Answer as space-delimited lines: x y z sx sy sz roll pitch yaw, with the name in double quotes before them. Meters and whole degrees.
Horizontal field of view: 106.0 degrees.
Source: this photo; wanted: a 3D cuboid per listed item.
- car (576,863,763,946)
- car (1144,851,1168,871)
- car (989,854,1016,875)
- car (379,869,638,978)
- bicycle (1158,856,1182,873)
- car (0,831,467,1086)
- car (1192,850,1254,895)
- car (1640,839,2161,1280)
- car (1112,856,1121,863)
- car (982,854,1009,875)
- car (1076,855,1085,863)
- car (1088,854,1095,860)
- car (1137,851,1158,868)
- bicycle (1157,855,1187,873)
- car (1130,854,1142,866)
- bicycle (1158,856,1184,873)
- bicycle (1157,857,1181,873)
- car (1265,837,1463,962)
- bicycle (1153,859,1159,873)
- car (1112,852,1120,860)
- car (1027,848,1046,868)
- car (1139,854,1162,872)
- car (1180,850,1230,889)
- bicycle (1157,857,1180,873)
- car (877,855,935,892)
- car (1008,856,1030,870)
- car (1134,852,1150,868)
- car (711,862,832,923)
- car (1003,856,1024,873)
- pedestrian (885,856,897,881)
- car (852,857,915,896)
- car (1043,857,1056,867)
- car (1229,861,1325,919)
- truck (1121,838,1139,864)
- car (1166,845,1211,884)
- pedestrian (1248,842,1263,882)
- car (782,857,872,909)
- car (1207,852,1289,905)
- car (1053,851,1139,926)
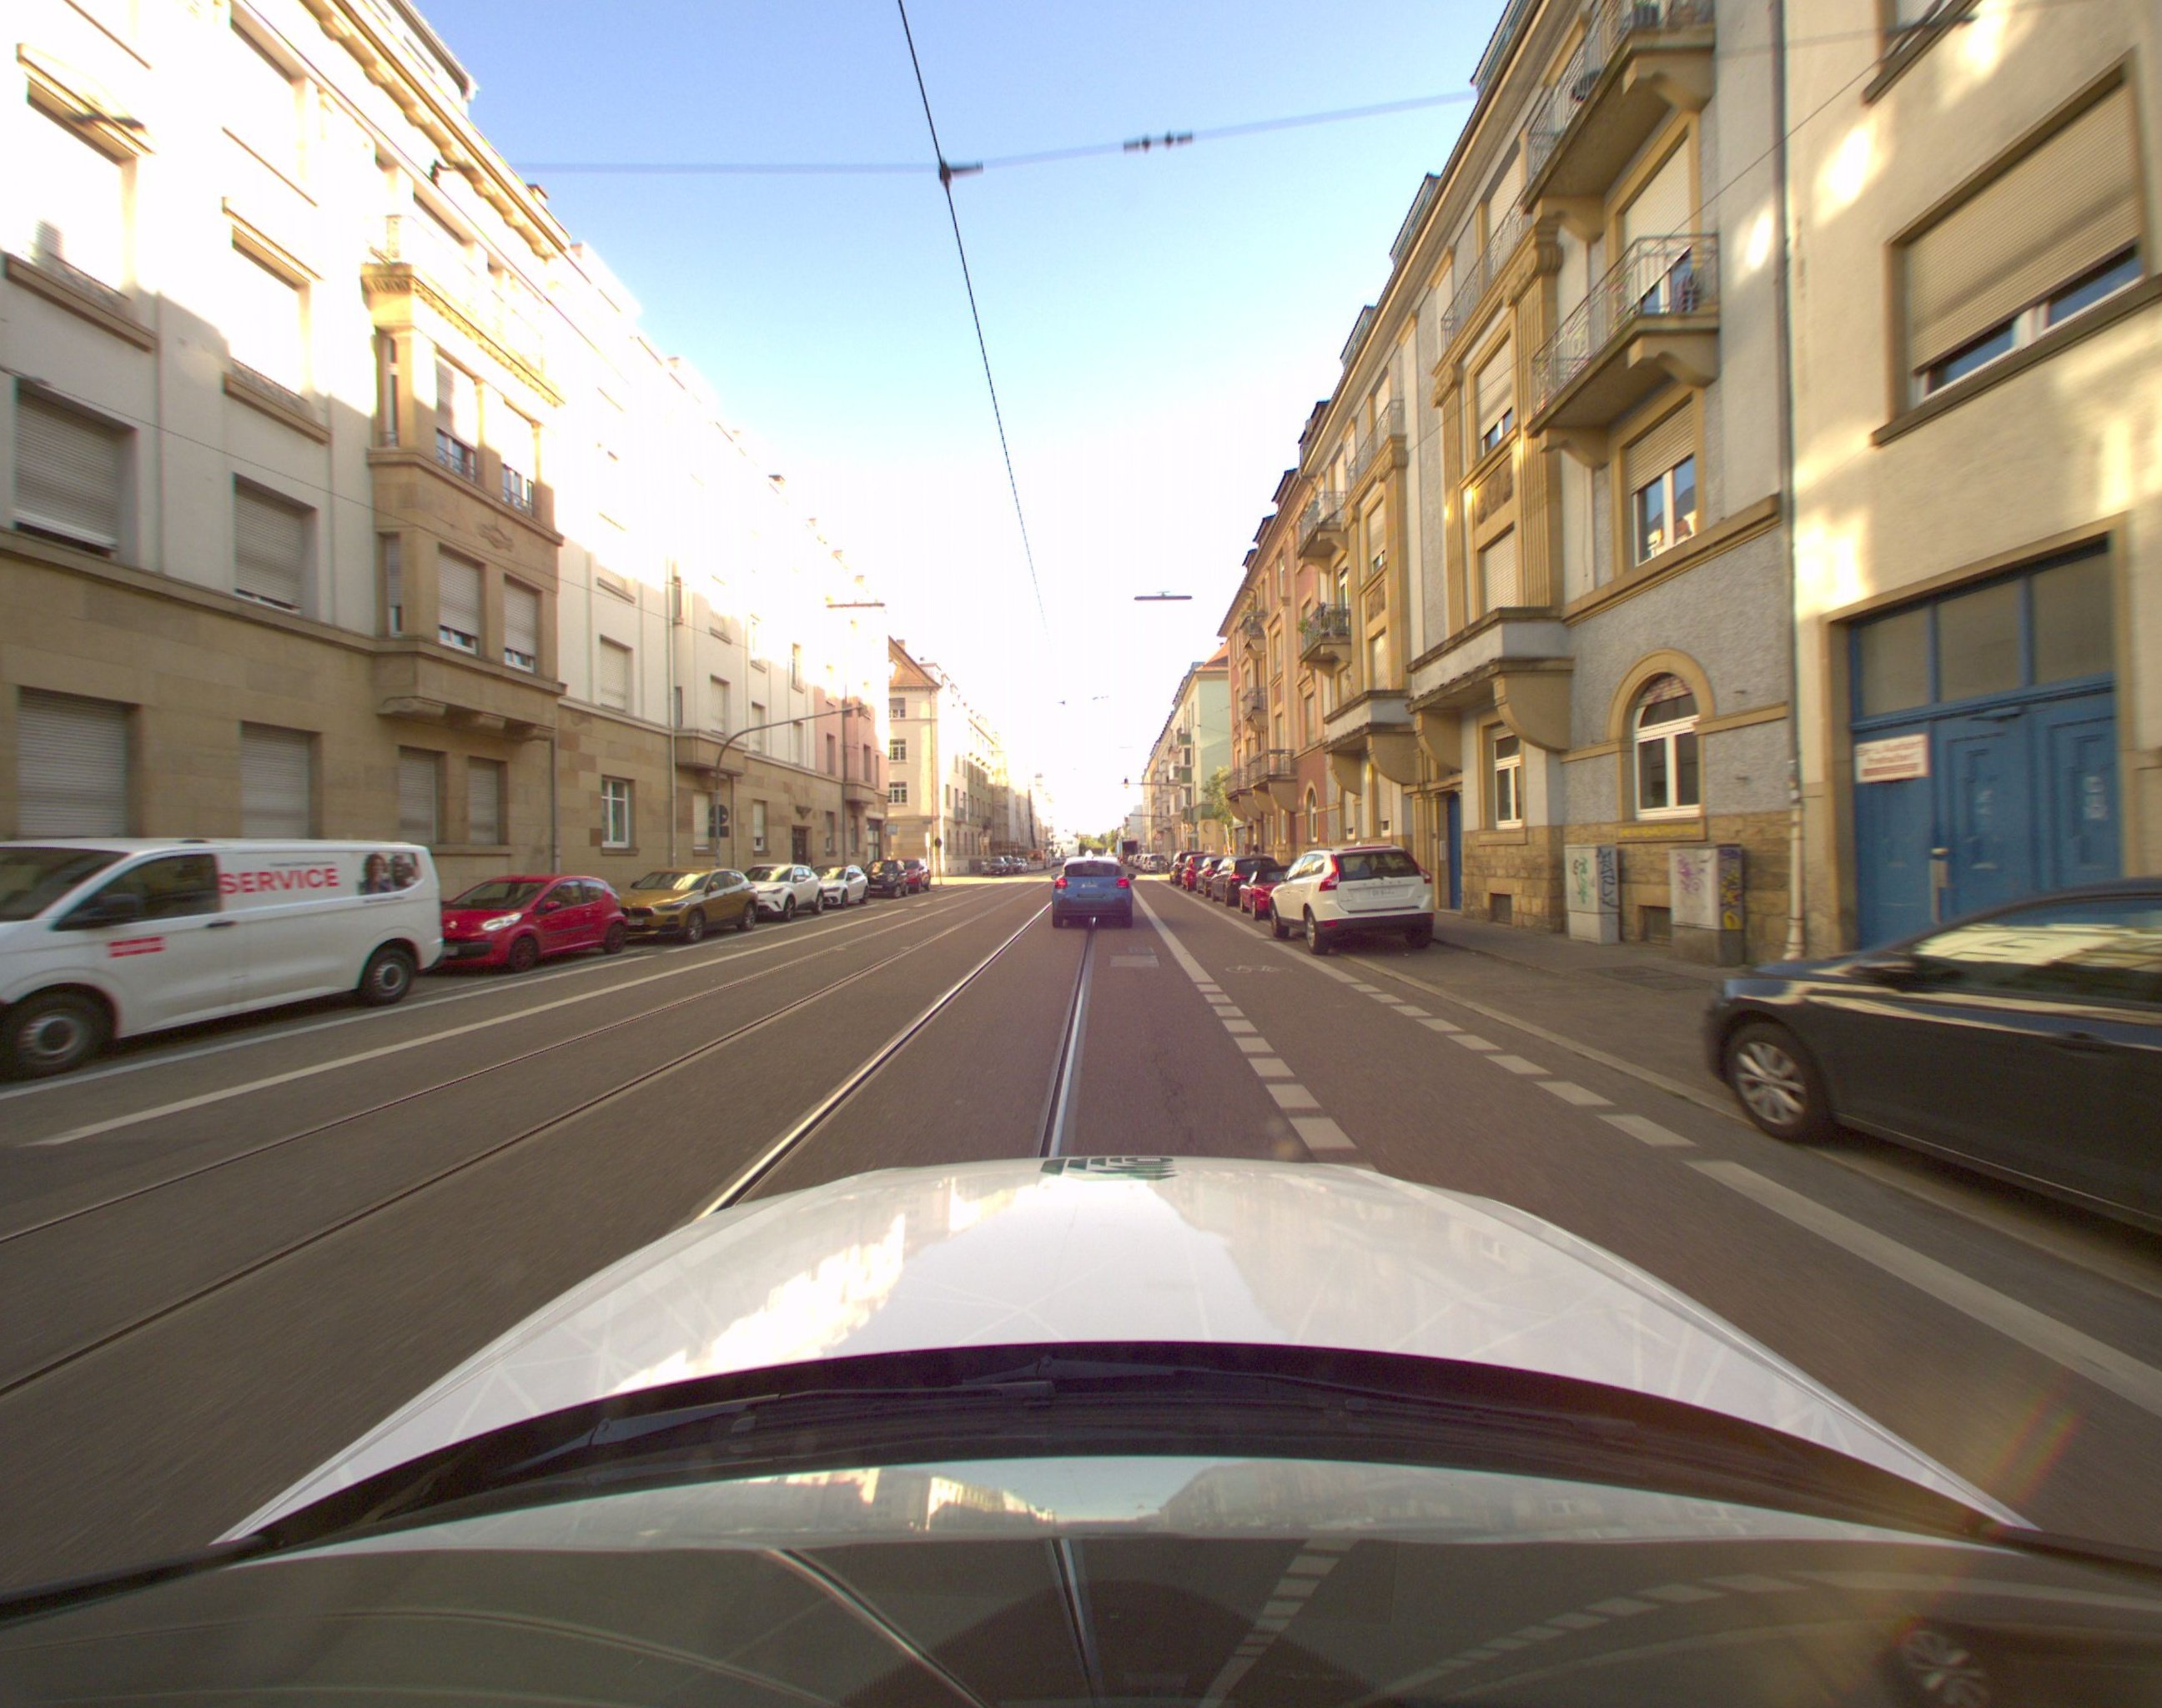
"car" -8.736 0.996 17.785 1.777 1.523 4.360 1 0 1
"car" 6.317 0.591 68.863 1.777 1.632 4.002 -2 0 2
"car" -7.124 0.894 73.992 1.776 1.816 4.531 1 0 3
"car" -9.201 1.024 13.495 1.597 1.472 3.647 1 0 2
"bicycle" 6.865 0.834 62.942 1.716 1.154 0.469 -5 0 2
"car" -9.193 0.788 8.194 1.966 1.949 5.252 1 0 1
"car" 5.191 0.645 30.334 1.648 1.513 4.476 -1 0 2
"car" 4.423 0.664 3.190 1.731 1.441 4.033 -1 0 1
"car" 7.569 1.202 173.220 1.758 1.487 4.033 -2 0 2
"car" -7.256 0.875 69.312 1.777 1.690 4.667 1 0 0
"car" -0.091 1.167 185.447 1.819 1.632 4.492 -2 0 2
"car" 3.052 0.871 227.294 1.819 1.632 4.492 -2 0 2
"car" 6.989 0.579 85.756 1.651 1.752 4.598 -2 0 -2
"bicycle" 6.803 0.757 61.005 2.078 1.154 0.848 -4 0 2
"car" 7.946 0.902 118.243 1.657 1.647 4.224 -2 0 2
"bicycle" 6.807 0.813 61.705 1.836 1.154 0.469 -5 0 2
"bicycle" 6.867 0.842 63.490 1.716 1.154 0.469 -5 0 2
"car" 4.419 0.636 13.512 1.836 1.691 4.507 -1 0 2
"bicycle" 5.906 0.934 63.990 0.351 1.044 1.730 -1 0 3
"car" 9.928 0.605 232.043 2.211 2.284 4.086 -2 0 2
"car" -5.653 0.478 103.802 2.138 2.475 4.979 -2 0 0
"car" 6.324 0.780 74.465 1.777 1.576 4.328 -2 0 2
"car" 5.320 0.639 35.278 1.746 1.594 3.732 -1 0 3
"bicycle" 6.969 0.871 64.789 1.716 1.154 0.469 -5 0 2
"car" -8.214 0.861 38.525 1.777 1.606 4.396 1 0 0
"car" -6.561 0.944 86.985 1.711 1.502 4.391 1 0 3
"car" 7.266 0.705 97.764 1.724 1.827 4.689 -2 0 2
"car" -8.681 1.019 23.287 1.766 1.547 4.365 1 0 0
"car" -6.677 1.058 80.949 1.777 1.627 4.608 1 0 0
"pedestrian" -13.132 0.988 56.185 0.604 1.712 0.732 -1 0 1
"car" -8.257 0.917 34.265 1.776 1.553 3.020 1 0 2
"car" -5.254 1.267 136.891 1.707 1.594 4.269 -2 0 2
"car" 4.869 0.838 20.742 1.647 1.249 4.510 -1 0 4
"truck" 8.320 -0.484 139.797 2.841 4.083 11.279 -2 0 3
"car" 5.449 0.507 41.591 1.746 1.735 4.509 -4 0 2
"pedestrian" 7.457 0.344 34.847 0.511 1.687 0.448 -1 0 1
"car" -8.698 0.944 28.248 1.777 1.622 4.178 1 0 0
"car" 5.066 0.692 25.249 1.648 1.483 4.474 -1 0 1
"car" 0.368 0.694 18.507 1.728 1.507 3.994 1 0 2
